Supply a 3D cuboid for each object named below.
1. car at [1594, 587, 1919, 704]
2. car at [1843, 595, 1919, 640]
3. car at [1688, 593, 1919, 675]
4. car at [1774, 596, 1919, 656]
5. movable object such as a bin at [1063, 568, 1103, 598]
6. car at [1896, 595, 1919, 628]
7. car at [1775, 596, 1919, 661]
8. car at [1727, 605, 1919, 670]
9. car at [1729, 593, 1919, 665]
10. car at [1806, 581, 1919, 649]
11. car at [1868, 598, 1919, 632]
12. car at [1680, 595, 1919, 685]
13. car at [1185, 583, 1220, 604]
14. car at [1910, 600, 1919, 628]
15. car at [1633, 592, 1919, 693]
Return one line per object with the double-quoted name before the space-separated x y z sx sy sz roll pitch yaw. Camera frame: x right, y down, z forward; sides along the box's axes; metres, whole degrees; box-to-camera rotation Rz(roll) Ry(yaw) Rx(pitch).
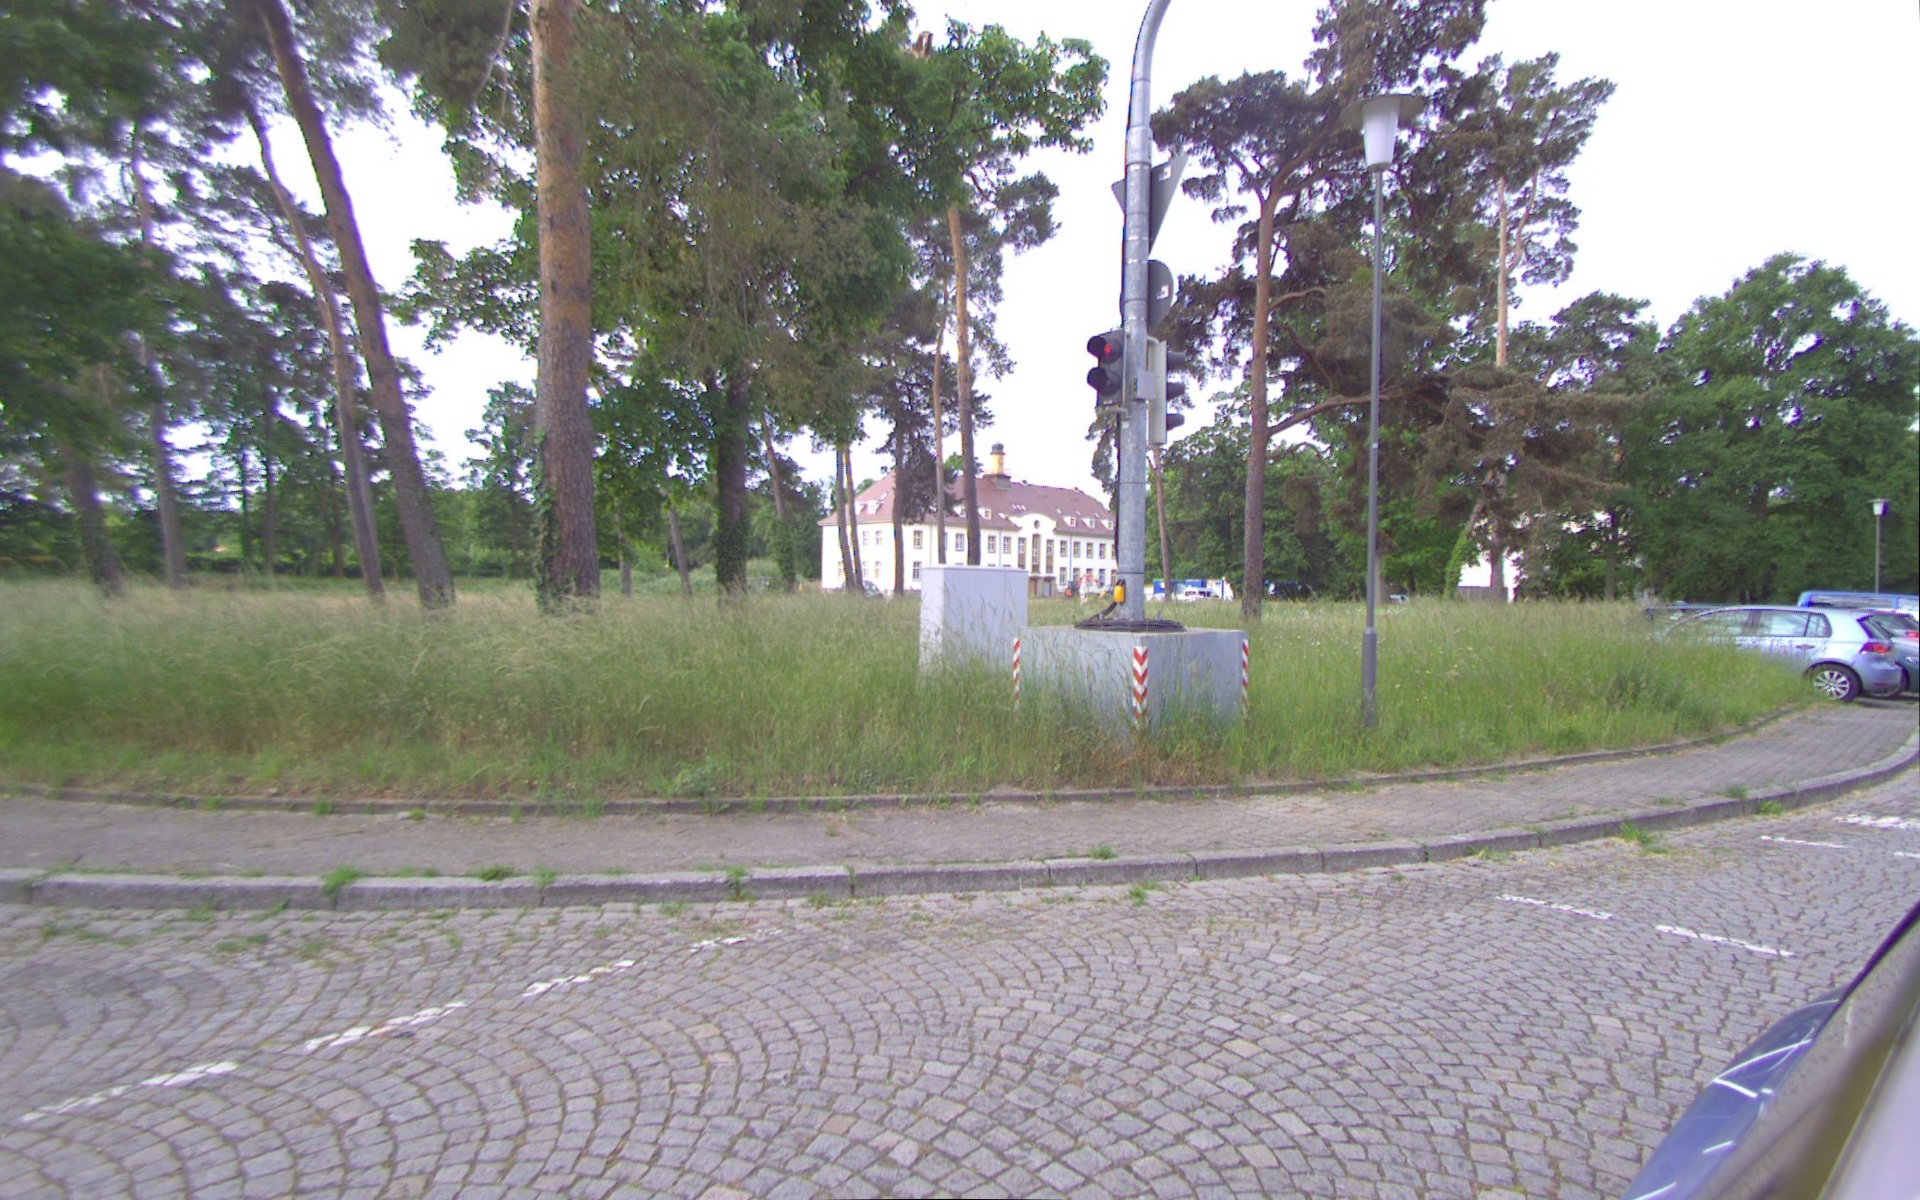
"car" 12.893 0.637 16.485 1.669 1.446 4.007 0 3 -43
"car" 36.428 0.697 38.484 1.624 1.613 4.084 1 2 -39
"car" 18.457 0.675 21.838 1.687 1.500 4.181 1 2 -41
"car" 26.060 0.725 28.968 1.572 1.535 4.050 1 2 -39
"movable object such as a bin" 16.329 -2.223 134.331 2.016 3.817 5.459 0 0 -38
"car" 51.351 0.672 52.267 1.693 1.716 4.088 1 2 -35
"car" 24.278 0.737 26.651 1.670 1.535 4.097 1 2 -39
"car" 20.203 0.827 23.107 1.523 1.256 4.048 1 2 -41
"car" 21.864 0.674 25.186 1.572 1.535 4.050 1 2 -39
"car" 30.203 0.476 32.325 1.878 2.031 4.601 0 2 -40
"car" 43.737 0.722 45.522 1.696 1.462 4.082 1 2 -40
"car" 16.942 0.723 19.879 1.686 1.492 4.247 1 2 -40
"car" 28.225 -0.781 117.740 4.372 2.394 1.860 -1 0 -42
"car" 54.856 0.836 55.259 1.693 1.552 4.098 1 2 -35
"car" 14.896 0.689 18.120 1.636 1.400 4.434 0 3 -43
